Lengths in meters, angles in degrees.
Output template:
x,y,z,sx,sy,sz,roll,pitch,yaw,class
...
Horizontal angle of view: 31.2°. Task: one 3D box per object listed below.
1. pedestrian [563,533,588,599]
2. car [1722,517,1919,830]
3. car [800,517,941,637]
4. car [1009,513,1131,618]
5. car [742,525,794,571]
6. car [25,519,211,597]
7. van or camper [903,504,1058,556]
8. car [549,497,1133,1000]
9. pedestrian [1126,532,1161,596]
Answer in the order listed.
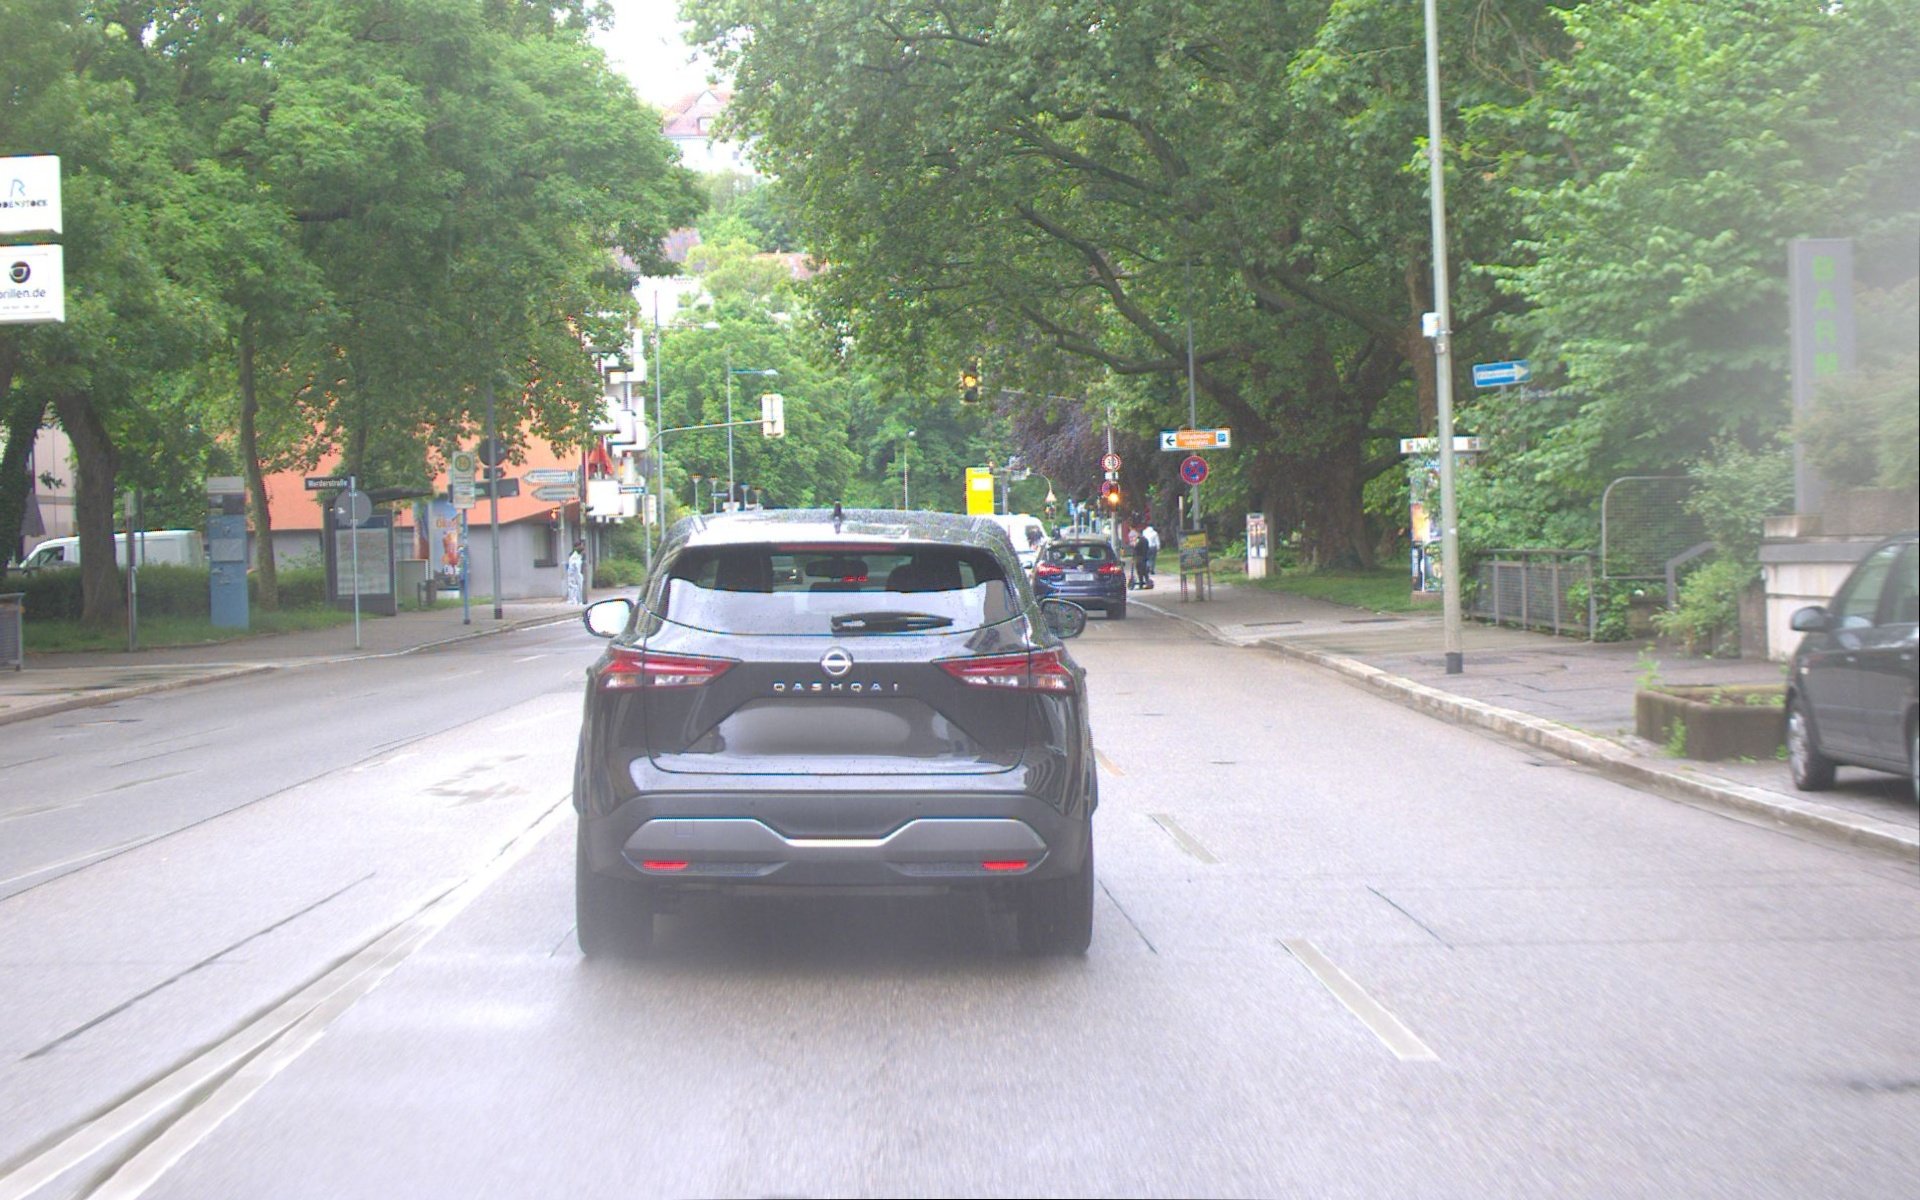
x,y,z,sx,sy,sz,roll,pitch,yaw,class
-10.527,-0.924,94.083,0.666,1.785,0.722,0,1,-7,pedestrian
5.347,0.285,18.068,1.714,1.437,4.082,-3,1,0,car
-1.341,-0.351,53.176,1.946,1.679,4.000,-3,0,1,car
2.039,-0.638,65.014,1.945,1.810,4.000,-3,0,-2,car
-7.605,-2.084,136.350,1.821,1.790,3.866,0,1,1,car
-19.229,-0.961,78.656,3.833,1.728,1.880,0,1,-2,car
1.427,-4.992,244.456,10.929,3.545,3.185,0,1,-2,van or camper
-0.526,0.439,13.205,1.894,1.623,4.001,0,1,-4,car
5.174,-1.013,97.061,0.667,1.785,0.721,-1,2,-42,pedestrian
